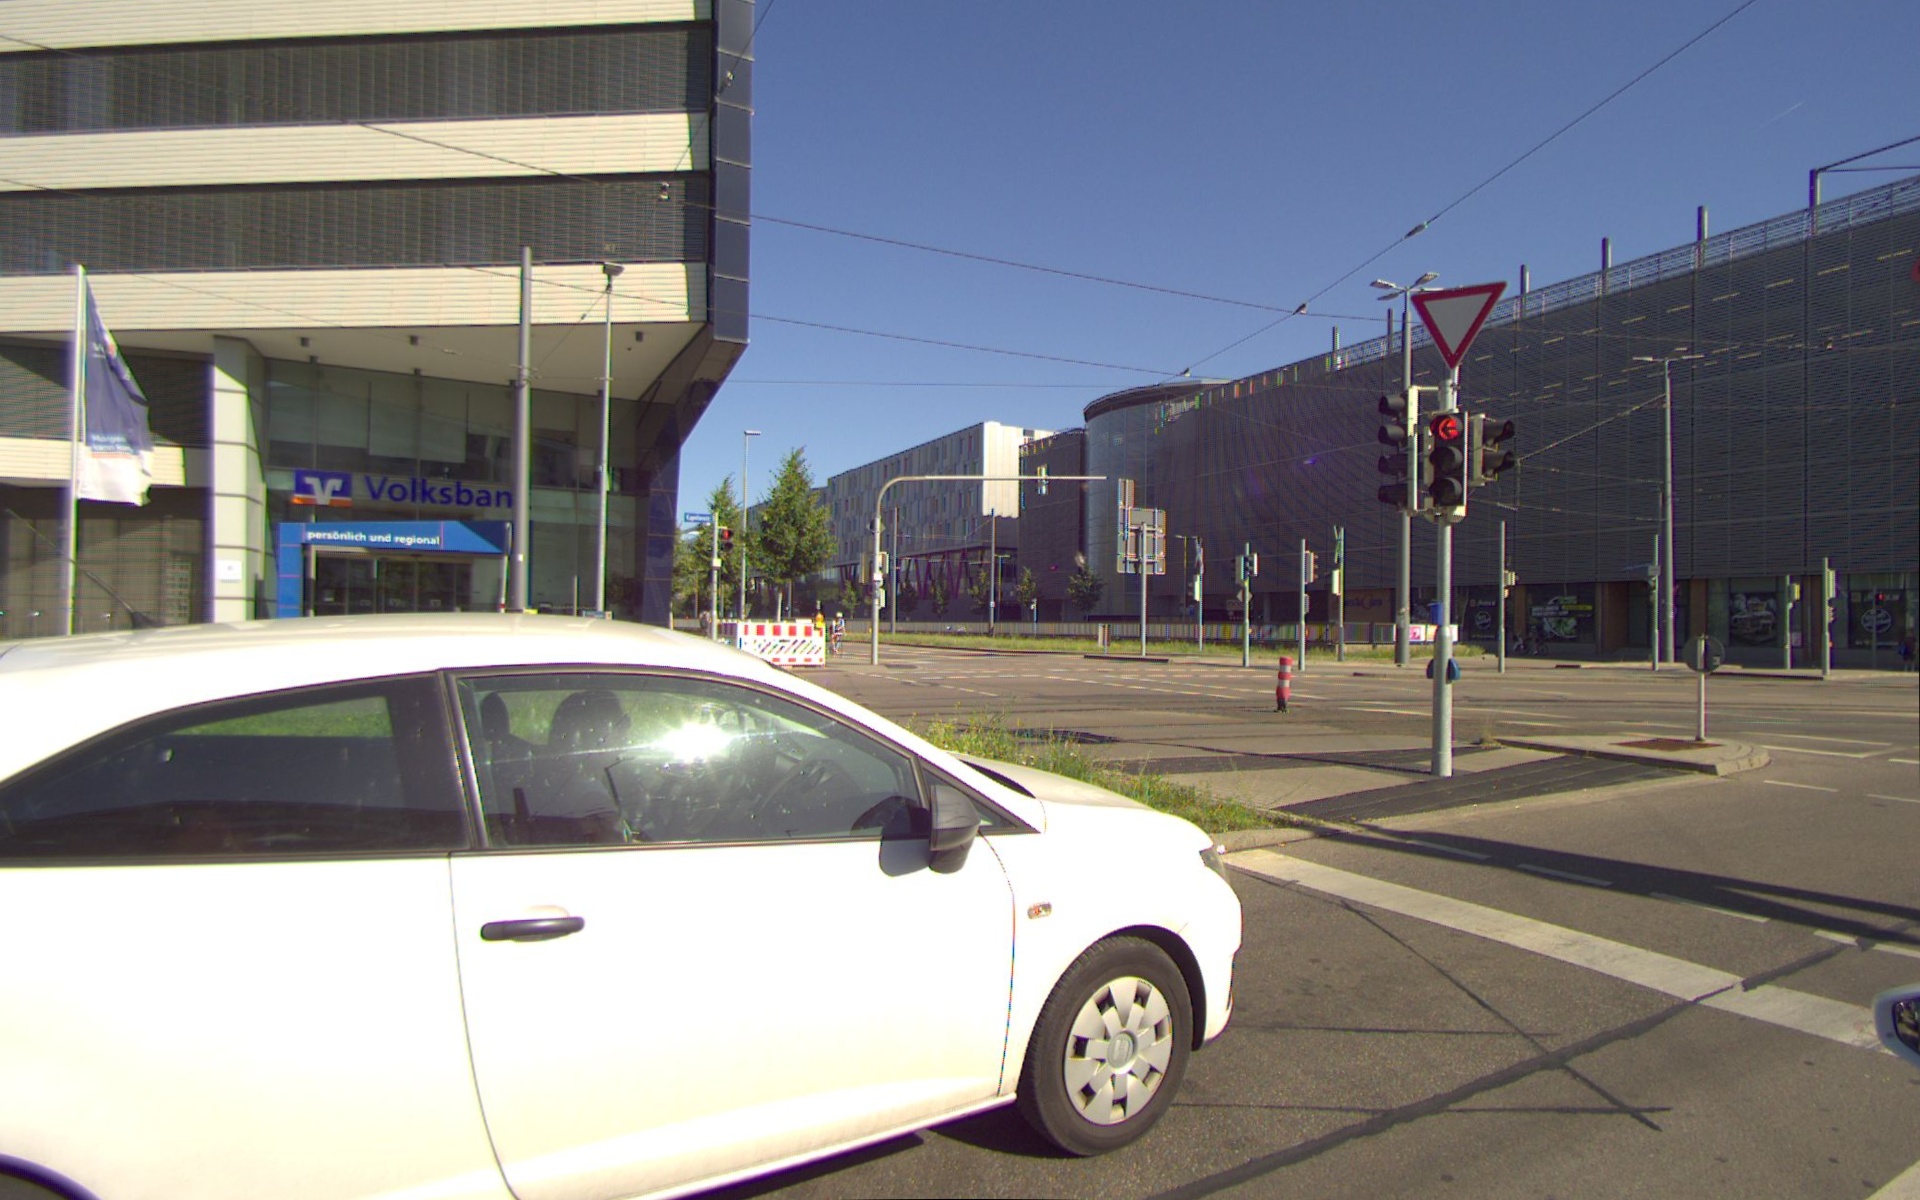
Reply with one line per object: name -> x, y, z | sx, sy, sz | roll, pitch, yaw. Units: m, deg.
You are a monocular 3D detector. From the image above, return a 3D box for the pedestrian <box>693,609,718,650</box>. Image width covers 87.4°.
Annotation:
pedestrian -> -10.015, 1.168, 39.563 | 0.845, 1.576, 0.610 | 1, -1, -24

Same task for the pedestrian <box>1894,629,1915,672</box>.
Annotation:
pedestrian -> 40.098, 2.128, 42.651 | 0.616, 1.774, 0.586 | 0, -1, 42

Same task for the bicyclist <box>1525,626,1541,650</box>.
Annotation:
bicyclist -> 34.753, 2.293, 60.891 | 0.553, 1.429, 0.651 | 1, -1, -31

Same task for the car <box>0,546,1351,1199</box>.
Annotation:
car -> -0.895, 0.652, 2.783 | 3.791, 1.450, 1.656 | 2, 2, -30

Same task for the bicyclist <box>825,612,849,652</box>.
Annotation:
bicyclist -> -4.551, 1.183, 37.065 | 0.750, 1.428, 0.769 | 1, -1, -17

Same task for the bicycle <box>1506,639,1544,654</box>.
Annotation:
bicycle -> 34.482, 2.823, 61.296 | 0.553, 0.822, 2.005 | 2, -1, -30

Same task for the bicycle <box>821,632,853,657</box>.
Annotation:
bicycle -> -4.563, 1.633, 37.087 | 0.758, 0.851, 2.559 | 1, -1, -17
